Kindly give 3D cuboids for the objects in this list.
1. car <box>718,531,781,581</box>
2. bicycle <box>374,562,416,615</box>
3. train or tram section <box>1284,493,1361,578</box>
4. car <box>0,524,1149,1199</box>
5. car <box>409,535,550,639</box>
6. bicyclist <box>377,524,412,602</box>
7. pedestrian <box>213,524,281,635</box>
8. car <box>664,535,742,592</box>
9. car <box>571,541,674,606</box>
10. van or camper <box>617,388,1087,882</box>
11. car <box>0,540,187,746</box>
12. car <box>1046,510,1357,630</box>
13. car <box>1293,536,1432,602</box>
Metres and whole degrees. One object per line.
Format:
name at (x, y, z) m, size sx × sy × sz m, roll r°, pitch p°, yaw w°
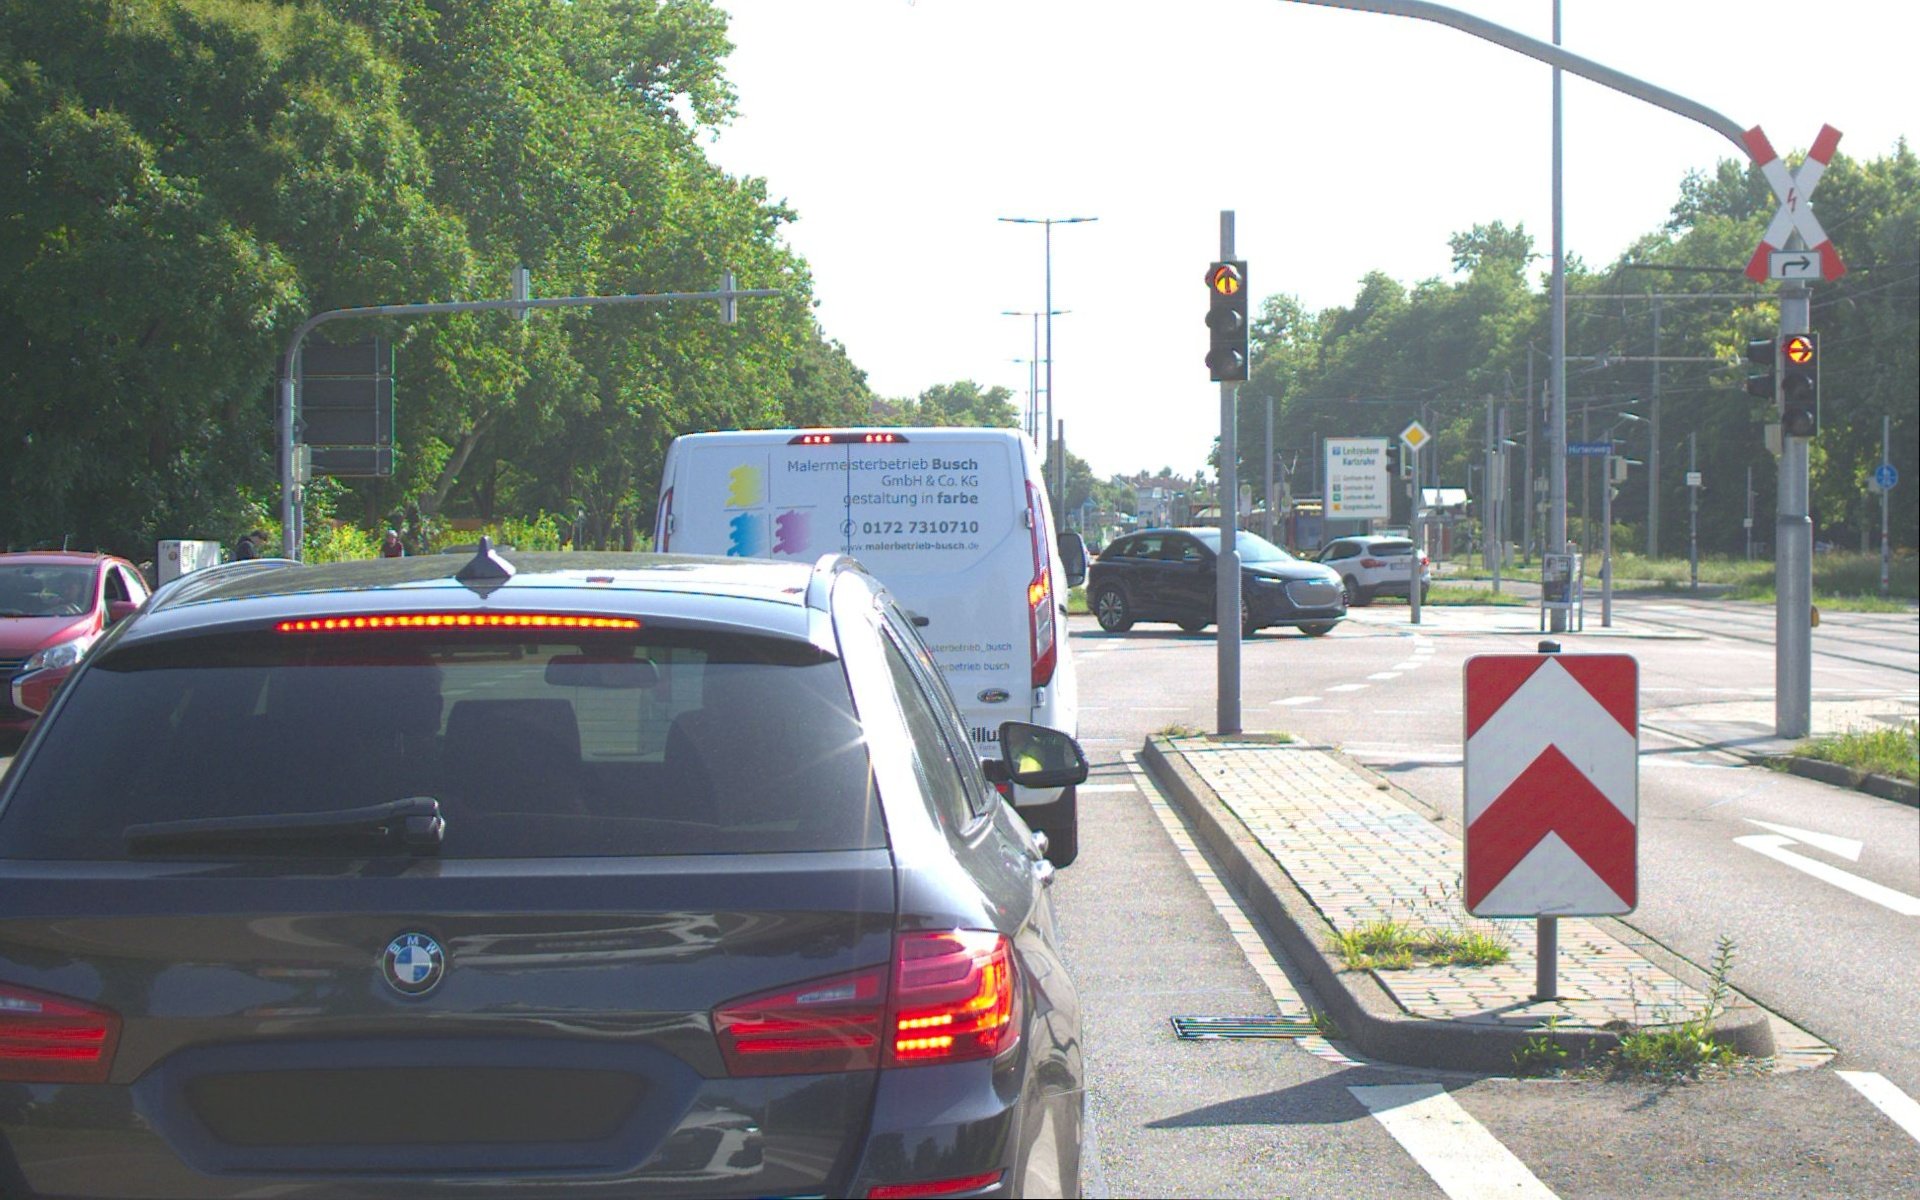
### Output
car at (-6.820, -1.452, 111.707) m, size 1.745 × 1.556 × 4.000 m, roll -2°, pitch 1°, yaw 0°
bicycle at (-11.400, -0.239, 69.398) m, size 0.619 × 1.037 × 2.072 m, roll 0°, pitch 1°, yaw -3°
train or tram section at (16.234, -2.840, 154.837) m, size 2.796 × 3.606 × 12.954 m, roll 1°, pitch 1°, yaw 3°
car at (-0.726, 0.614, 6.444) m, size 1.903 × 1.500 × 4.065 m, roll 0°, pitch 1°, yaw 0°
car at (-7.633, -0.229, 54.881) m, size 1.633 × 1.555 × 3.676 m, roll -2°, pitch 1°, yaw 1°
bicyclist at (-11.403, -0.747, 69.336) m, size 0.607 × 1.555 × 0.603 m, roll 1°, pitch 1°, yaw -3°
pedestrian at (-11.289, -0.333, 54.475) m, size 0.816 × 1.746 × 0.931 m, roll 0°, pitch 1°, yaw 5°
car at (-7.396, -1.042, 99.287) m, size 1.702 × 1.460 × 4.368 m, roll -1°, pitch -1°, yaw 2°
car at (-7.581, -0.619, 77.510) m, size 1.779 × 1.410 × 4.245 m, roll 0°, pitch 1°, yaw 2°
van or camper at (-0.420, 0.104, 16.863) m, size 1.993 × 2.089 × 4.598 m, roll 0°, pitch 1°, yaw 1°
car at (-7.319, 0.296, 27.043) m, size 1.694 × 1.493 × 3.676 m, roll -1°, pitch 1°, yaw -1°
car at (3.586, -0.441, 51.569) m, size 4.618 × 1.716 × 1.645 m, roll 0°, pitch 1°, yaw 42°
car at (9.280, -0.731, 79.478) m, size 1.792 × 1.481 × 3.901 m, roll 0°, pitch 1°, yaw -17°
